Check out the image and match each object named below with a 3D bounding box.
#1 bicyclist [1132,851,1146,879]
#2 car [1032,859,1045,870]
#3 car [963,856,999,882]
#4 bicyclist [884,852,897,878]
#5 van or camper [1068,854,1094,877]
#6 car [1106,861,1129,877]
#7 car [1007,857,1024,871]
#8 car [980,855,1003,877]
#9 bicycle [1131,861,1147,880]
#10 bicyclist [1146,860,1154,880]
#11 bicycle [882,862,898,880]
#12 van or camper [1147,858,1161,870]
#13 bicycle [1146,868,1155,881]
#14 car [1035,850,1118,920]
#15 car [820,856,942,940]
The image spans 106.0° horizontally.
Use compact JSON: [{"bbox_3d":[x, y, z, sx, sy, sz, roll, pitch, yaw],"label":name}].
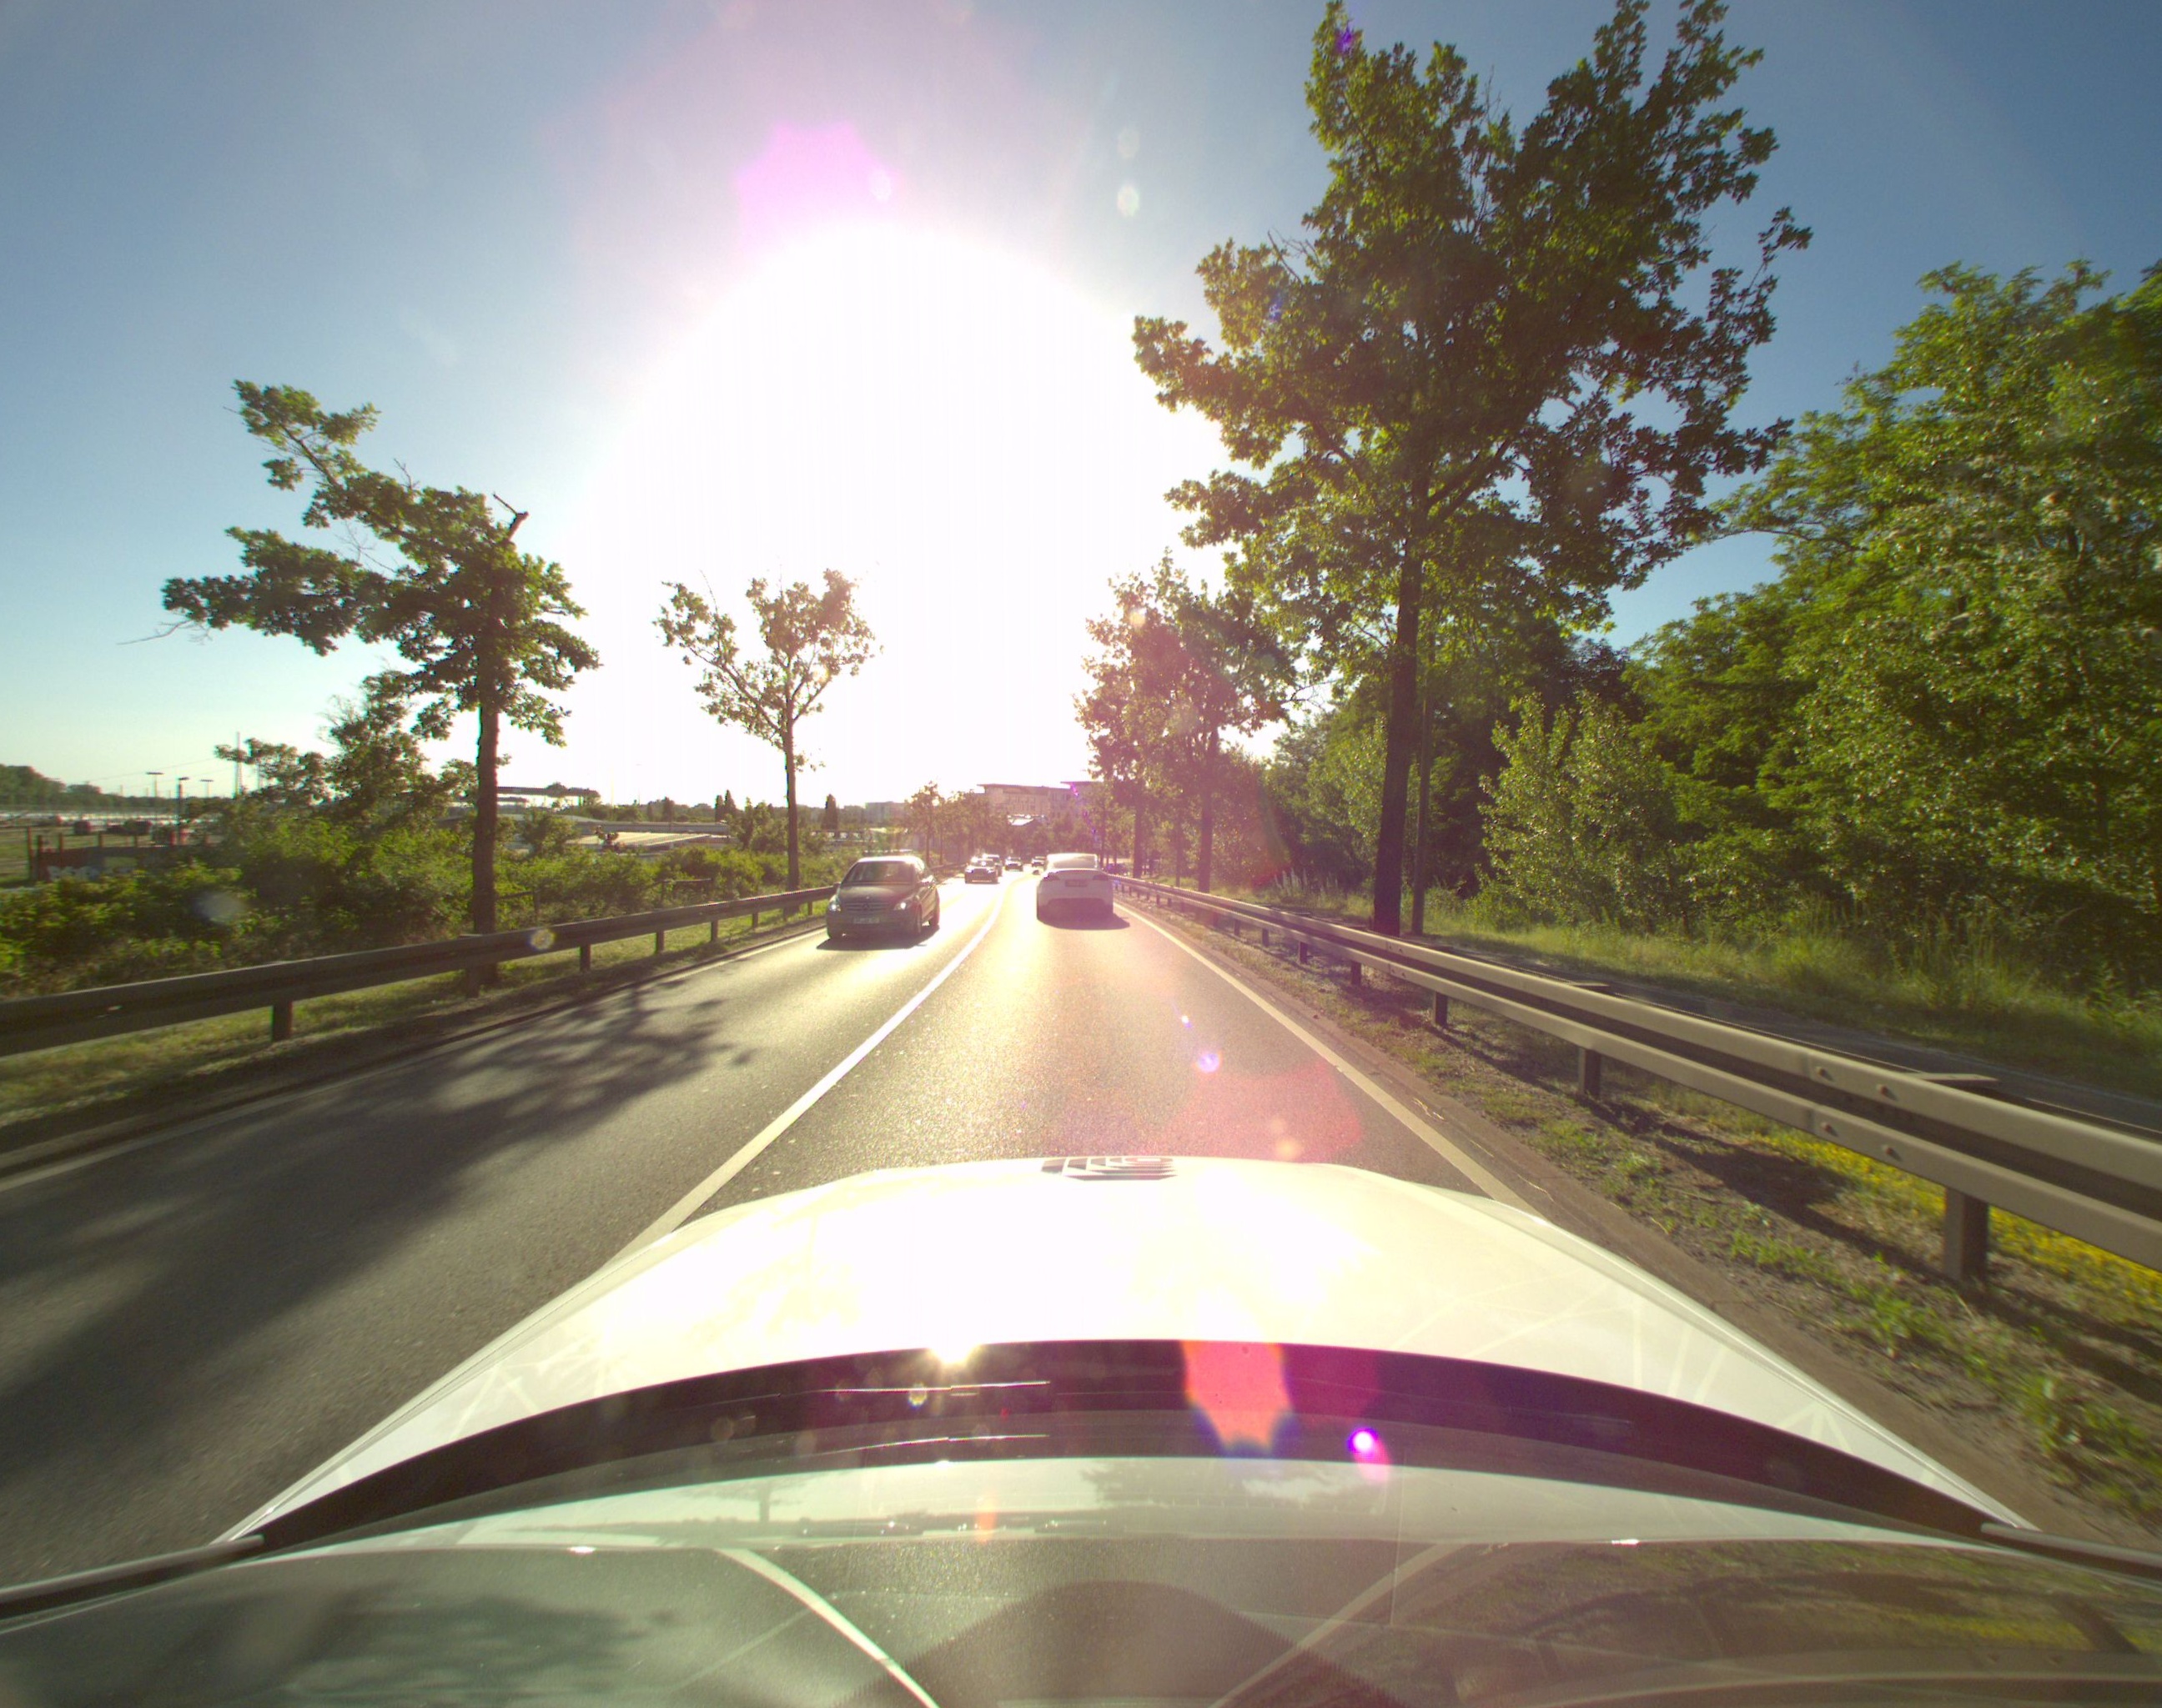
[{"bbox_3d":[3.357,0.653,47.271,0.703,1.578,1.007,0,-2,9],"label":"bicyclist"},{"bbox_3d":[-5.969,1.472,115.294,1.804,1.496,4.365,0,0,-2],"label":"car"},{"bbox_3d":[-5.963,0.868,49.014,1.846,1.492,4.709,0,0,-4],"label":"car"},{"bbox_3d":[-12.153,0.695,51.966,0.650,1.623,0.873,0,0,-5],"label":"bicyclist"},{"bbox_3d":[0.048,0.952,70.474,1.950,1.884,4.884,0,0,3],"label":"van or camper"},{"bbox_3d":[3.966,1.611,88.813,1.592,1.434,3.695,3,3,16],"label":"car"},{"bbox_3d":[-7.102,1.076,88.301,1.687,1.441,4.212,0,0,-3],"label":"car"},{"bbox_3d":[-7.137,0.932,65.007,1.726,1.658,3.975,0,0,-5],"label":"car"},{"bbox_3d":[3.364,0.975,47.323,0.696,1.074,1.926,0,-2,10],"label":"bicycle"},{"bbox_3d":[6.312,1.417,74.068,0.671,1.776,0.950,0,0,7],"label":"bicyclist"},{"bbox_3d":[-12.146,1.053,51.898,0.659,1.095,2.105,0,0,-4],"label":"bicycle"},{"bbox_3d":[12.450,1.628,138.781,1.814,1.790,4.560,3,2,12],"label":"van or camper"},{"bbox_3d":[6.323,1.840,74.057,0.691,1.095,2.122,0,0,7],"label":"bicycle"},{"bbox_3d":[-0.232,0.729,21.495,1.910,1.641,4.403,0,0,-4],"label":"car"},{"bbox_3d":[-4.079,0.814,17.273,1.805,1.554,4.135,0,0,-4],"label":"car"}]
